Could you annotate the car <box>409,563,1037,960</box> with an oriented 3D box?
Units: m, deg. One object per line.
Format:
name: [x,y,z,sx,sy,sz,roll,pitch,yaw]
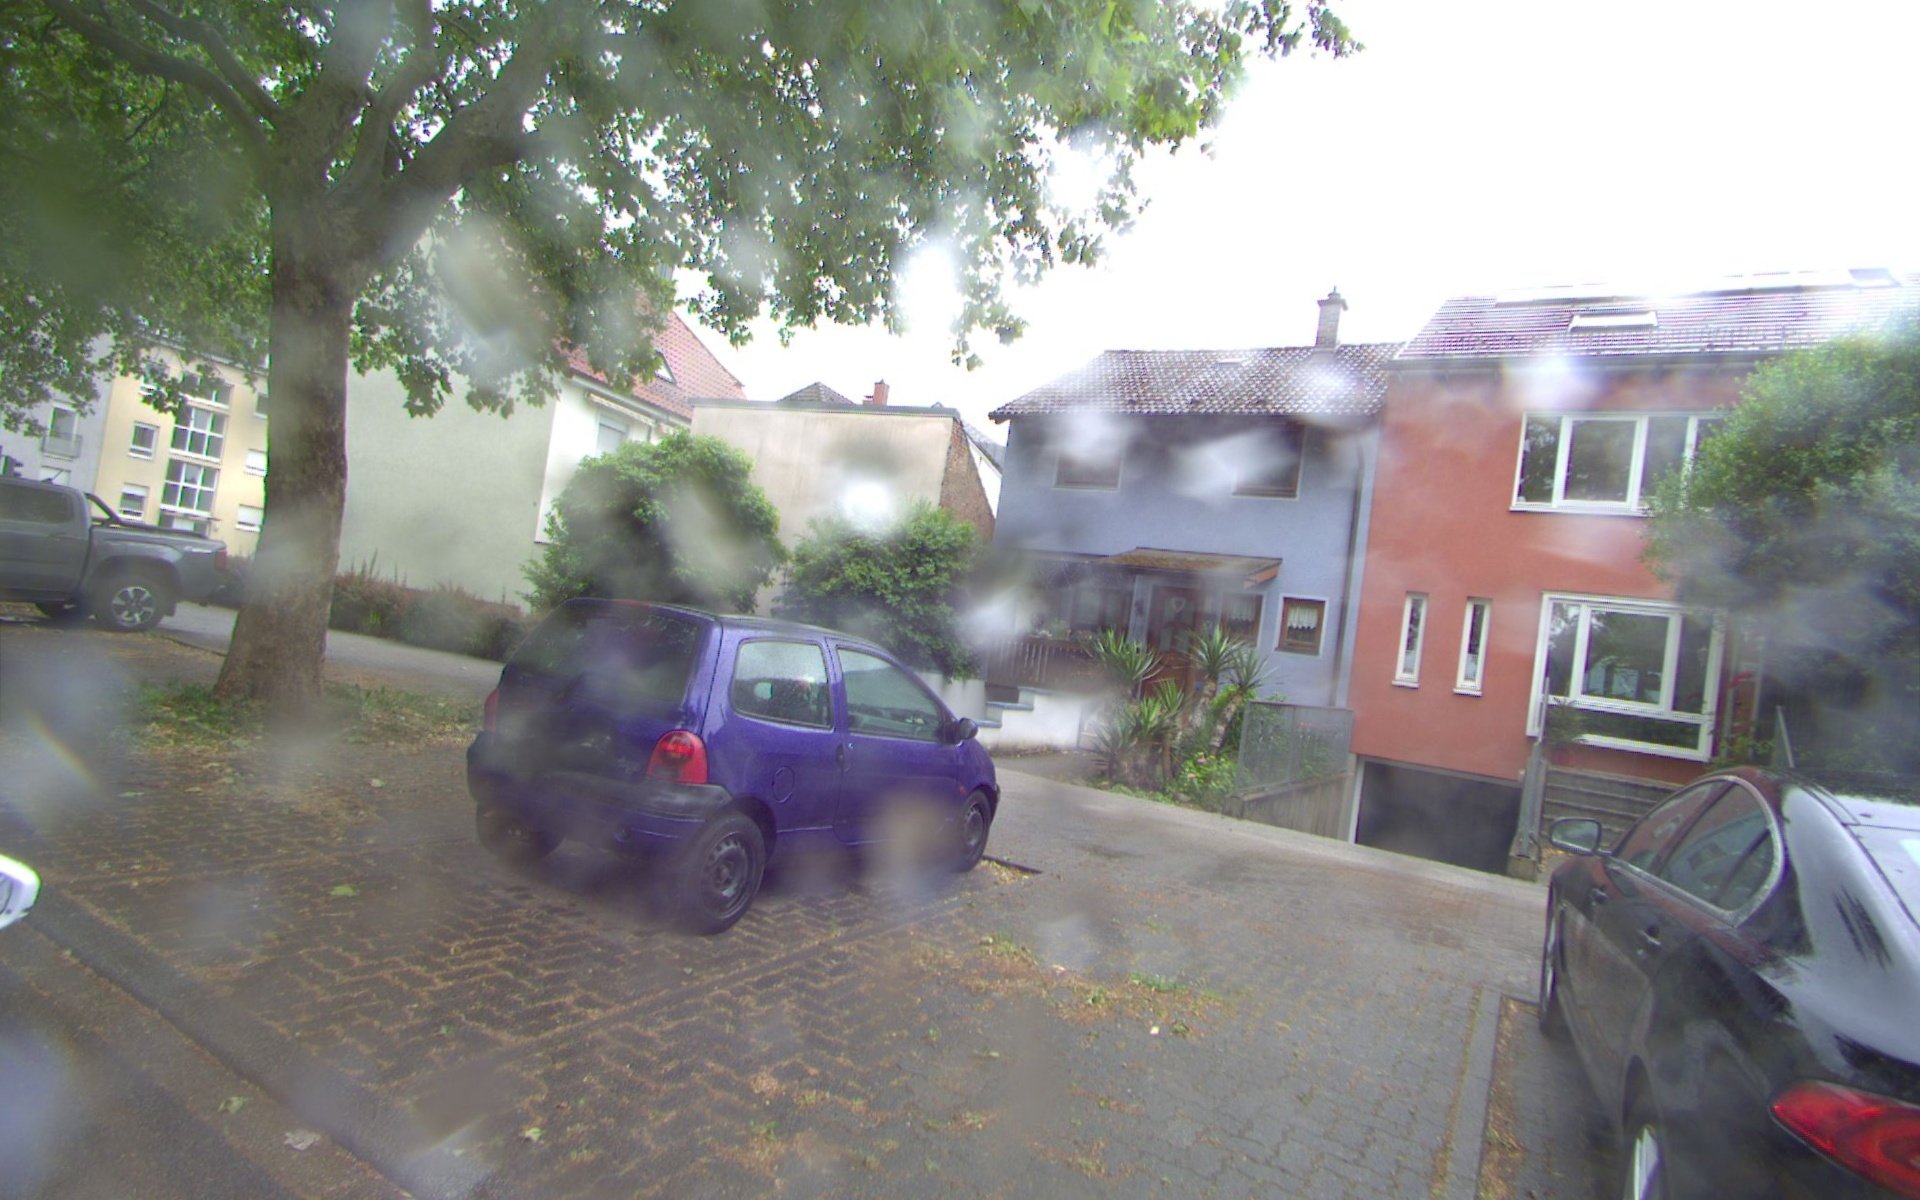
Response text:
car: [-1.062,0.821,5.929,1.591,1.480,3.364,7,-3,30]

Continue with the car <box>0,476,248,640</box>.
car: [-12.325,-0.659,12.499,1.812,1.827,5.356,7,-2,25]

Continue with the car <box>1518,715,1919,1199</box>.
car: [2.959,1.251,2.968,1.903,1.489,4.781,7,-2,27]
